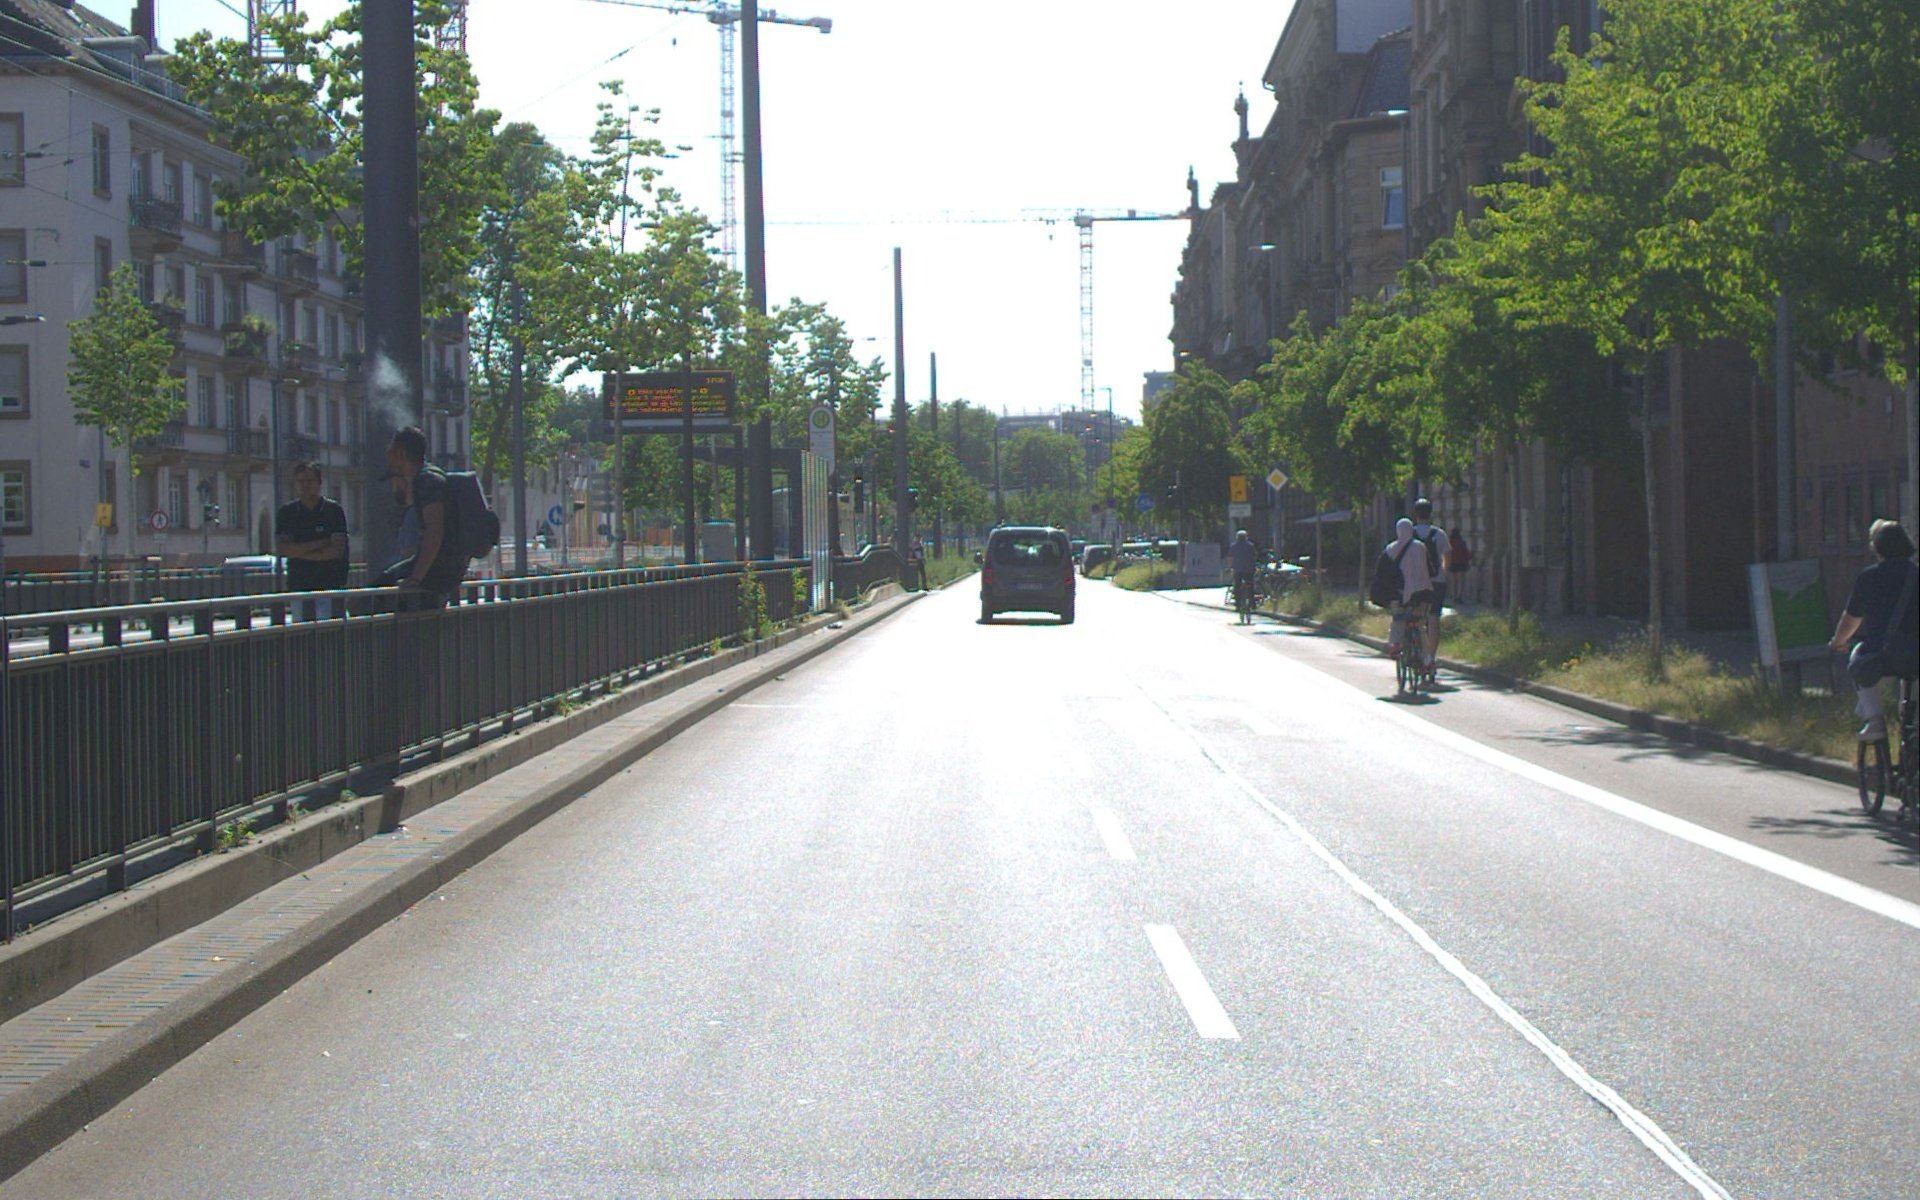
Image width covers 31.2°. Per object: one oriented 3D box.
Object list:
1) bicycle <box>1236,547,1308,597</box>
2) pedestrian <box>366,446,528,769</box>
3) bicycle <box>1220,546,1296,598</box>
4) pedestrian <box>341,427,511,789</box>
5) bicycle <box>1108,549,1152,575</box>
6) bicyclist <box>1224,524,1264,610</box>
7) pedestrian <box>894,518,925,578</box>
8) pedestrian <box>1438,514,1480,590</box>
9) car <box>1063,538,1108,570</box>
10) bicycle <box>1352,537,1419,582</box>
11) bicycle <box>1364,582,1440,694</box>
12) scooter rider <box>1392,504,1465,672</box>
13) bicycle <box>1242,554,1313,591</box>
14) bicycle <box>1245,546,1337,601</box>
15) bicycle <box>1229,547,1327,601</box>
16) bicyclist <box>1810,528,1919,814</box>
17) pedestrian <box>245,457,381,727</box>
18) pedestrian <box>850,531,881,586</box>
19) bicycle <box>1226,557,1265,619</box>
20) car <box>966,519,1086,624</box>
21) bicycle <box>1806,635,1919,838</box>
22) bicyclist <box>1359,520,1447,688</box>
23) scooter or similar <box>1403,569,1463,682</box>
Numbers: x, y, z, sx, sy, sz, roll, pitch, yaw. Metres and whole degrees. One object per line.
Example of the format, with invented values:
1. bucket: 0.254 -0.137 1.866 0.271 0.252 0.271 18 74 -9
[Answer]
1. bicycle: 7.246 -0.652 79.881 1.600 1.042 0.607 -3 1 5
2. pedestrian: -2.833 0.034 19.061 0.746 1.742 0.715 -1 1 1
3. bicycle: 7.053 -0.665 81.442 1.724 1.097 0.607 -3 1 5
4. pedestrian: -2.841 0.039 18.355 0.746 1.878 0.715 -1 1 1
5. bicycle: 7.021 -1.565 141.967 1.792 1.027 0.527 -1 1 1
6. bicyclist: 5.560 -0.644 67.262 0.684 1.667 0.922 1 1 1
7. pedestrian: -1.510 -1.546 102.590 0.865 1.782 0.971 0 1 -5
8. pedestrian: 10.252 -0.992 70.647 0.709 1.536 0.927 -1 1 1
9. car: 6.014 -2.210 165.551 2.028 1.493 4.654 -1 1 1
10. bicycle: 11.846 -1.135 95.674 1.818 1.167 0.654 -1 4 5
11. bicycle: 4.549 0.376 35.468 0.557 1.089 1.792 1 1 0
12. scooter rider: 5.235 -0.140 38.469 0.666 1.854 0.901 1 1 1
13. bicycle: 7.658 -0.658 82.905 1.670 0.818 0.606 -2 1 8
14. bicycle: 7.561 -0.603 78.562 1.995 1.124 0.710 -3 1 3
15. bicycle: 7.136 -0.591 77.200 1.994 1.089 0.847 -4 1 -8
16. bicyclist: 5.125 0.376 18.903 0.657 1.532 0.909 1 1 1
17. pedestrian: -4.210 -0.056 22.417 0.709 1.717 0.752 -1 1 0
18. pedestrian: -2.653 -1.175 96.470 0.813 1.531 0.798 0 1 3
19. bicycle: 5.559 -0.245 66.993 0.601 1.177 1.869 1 1 0
20. car: 1.275 -0.571 66.504 2.200 1.919 4.654 -1 1 1
21. bicycle: 5.131 0.732 18.947 0.557 1.023 1.507 1 1 1
22. bicyclist: 4.571 0.033 35.527 0.779 1.705 0.868 1 1 1
23. scooter or similar: 5.273 0.276 38.364 0.490 1.222 1.170 1 1 1
